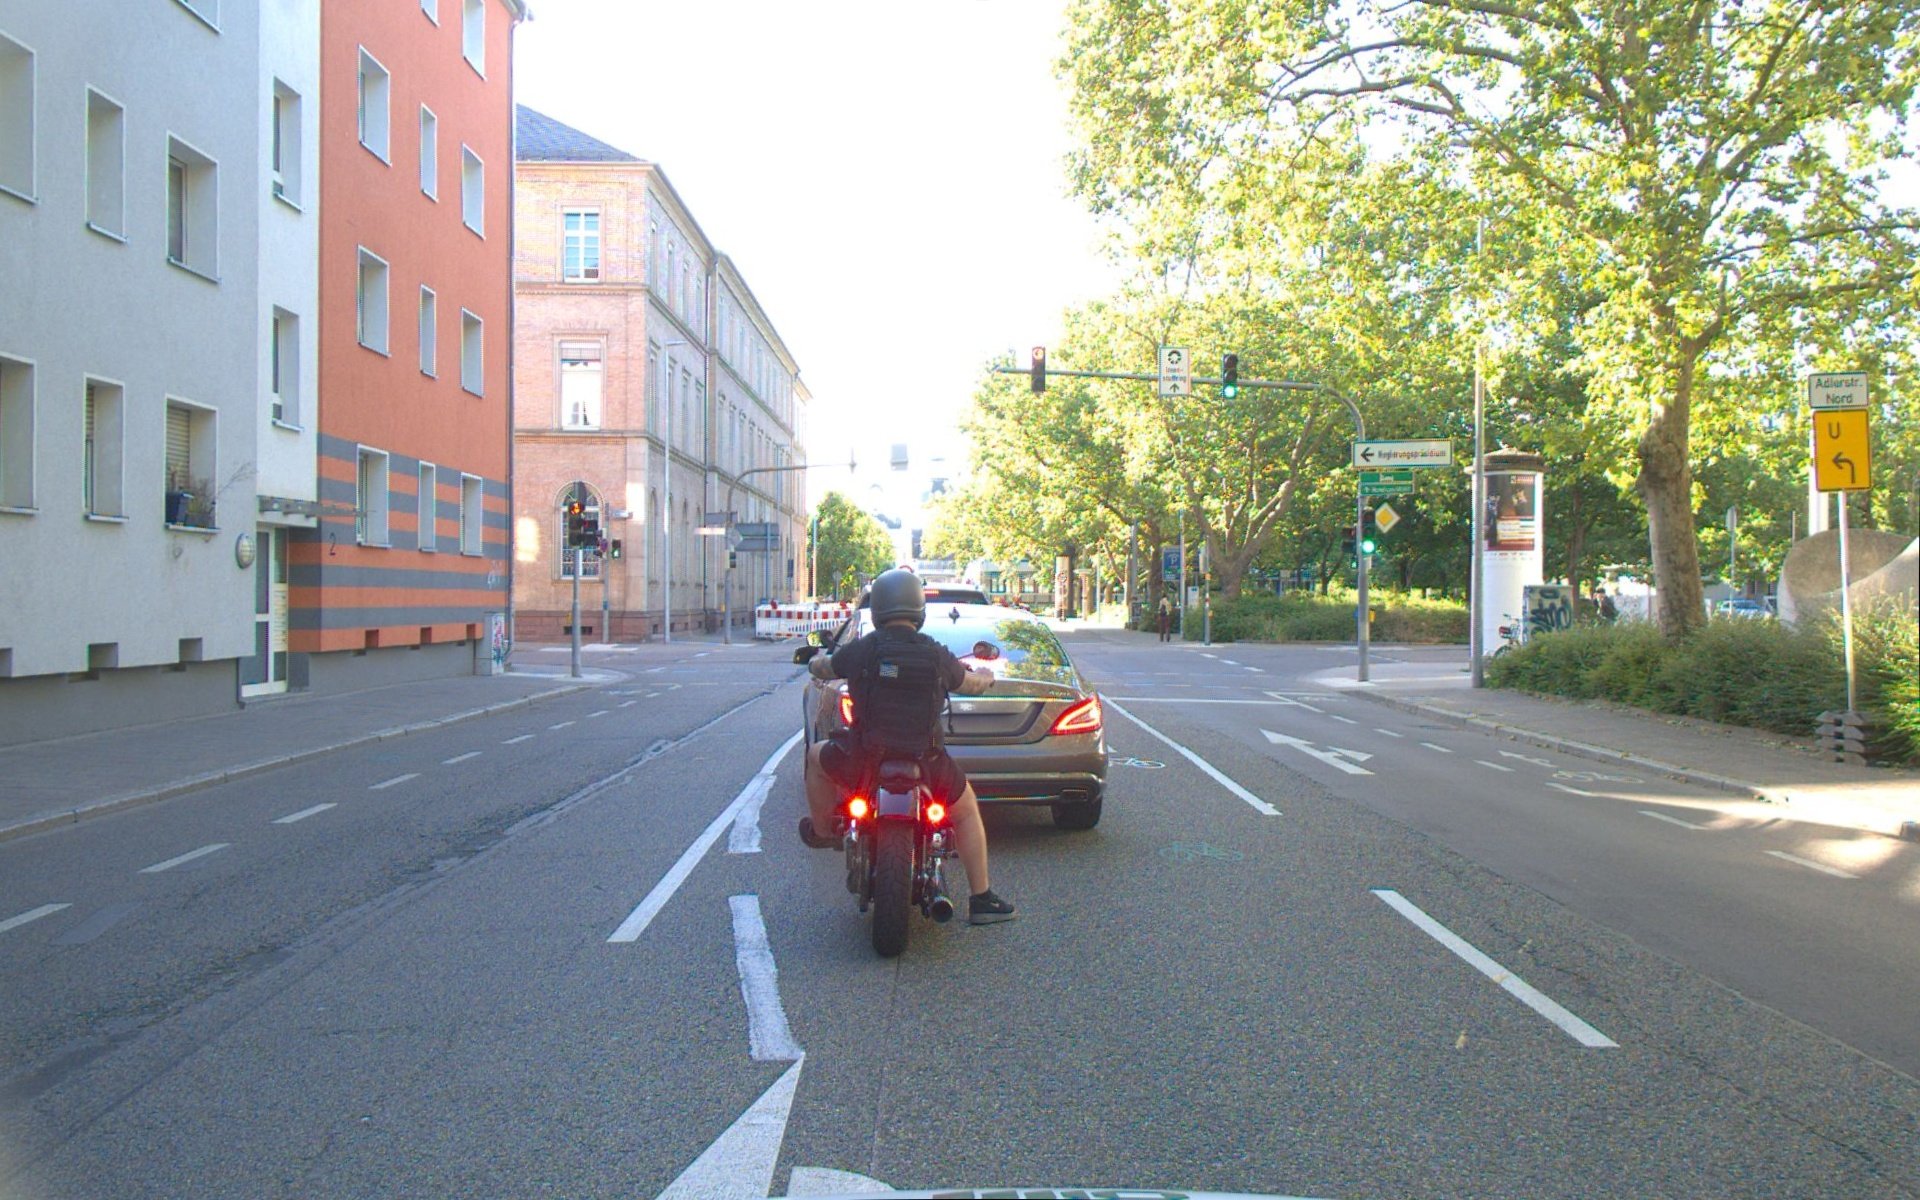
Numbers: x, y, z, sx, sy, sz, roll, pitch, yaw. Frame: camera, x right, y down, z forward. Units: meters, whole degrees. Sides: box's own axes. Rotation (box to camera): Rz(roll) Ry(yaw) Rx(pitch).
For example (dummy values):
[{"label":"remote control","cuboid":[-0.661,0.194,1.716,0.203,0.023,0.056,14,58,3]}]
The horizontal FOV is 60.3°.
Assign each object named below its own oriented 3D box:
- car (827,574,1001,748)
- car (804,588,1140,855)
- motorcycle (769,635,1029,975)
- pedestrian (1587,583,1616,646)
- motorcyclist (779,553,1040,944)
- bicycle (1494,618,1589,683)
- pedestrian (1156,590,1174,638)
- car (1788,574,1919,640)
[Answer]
[{"label":"car","cuboid":[-0.502,0.582,17.678,1.647,1.653,3.839,0,0,-2]},{"label":"car","cuboid":[-0.121,0.685,11.618,1.787,1.502,4.346,0,0,-7]},{"label":"motorcycle","cuboid":[-0.251,0.813,7.662,0.987,1.225,2.664,0,0,-1]},{"label":"pedestrian","cuboid":[18.774,0.421,48.380,0.607,1.815,0.630,0,0,1]},{"label":"motorcyclist","cuboid":[-0.219,0.623,7.553,1.090,1.641,1.202,0,0,-1]},{"label":"bicycle","cuboid":[9.696,0.835,27.593,1.387,1.055,0.538,0,0,-5]},{"label":"pedestrian","cuboid":[7.338,0.501,59.259,0.548,1.707,0.564,0,0,-1]},{"label":"car","cuboid":[25.759,0.191,46.570,3.912,1.815,2.001,0,0,4]}]
